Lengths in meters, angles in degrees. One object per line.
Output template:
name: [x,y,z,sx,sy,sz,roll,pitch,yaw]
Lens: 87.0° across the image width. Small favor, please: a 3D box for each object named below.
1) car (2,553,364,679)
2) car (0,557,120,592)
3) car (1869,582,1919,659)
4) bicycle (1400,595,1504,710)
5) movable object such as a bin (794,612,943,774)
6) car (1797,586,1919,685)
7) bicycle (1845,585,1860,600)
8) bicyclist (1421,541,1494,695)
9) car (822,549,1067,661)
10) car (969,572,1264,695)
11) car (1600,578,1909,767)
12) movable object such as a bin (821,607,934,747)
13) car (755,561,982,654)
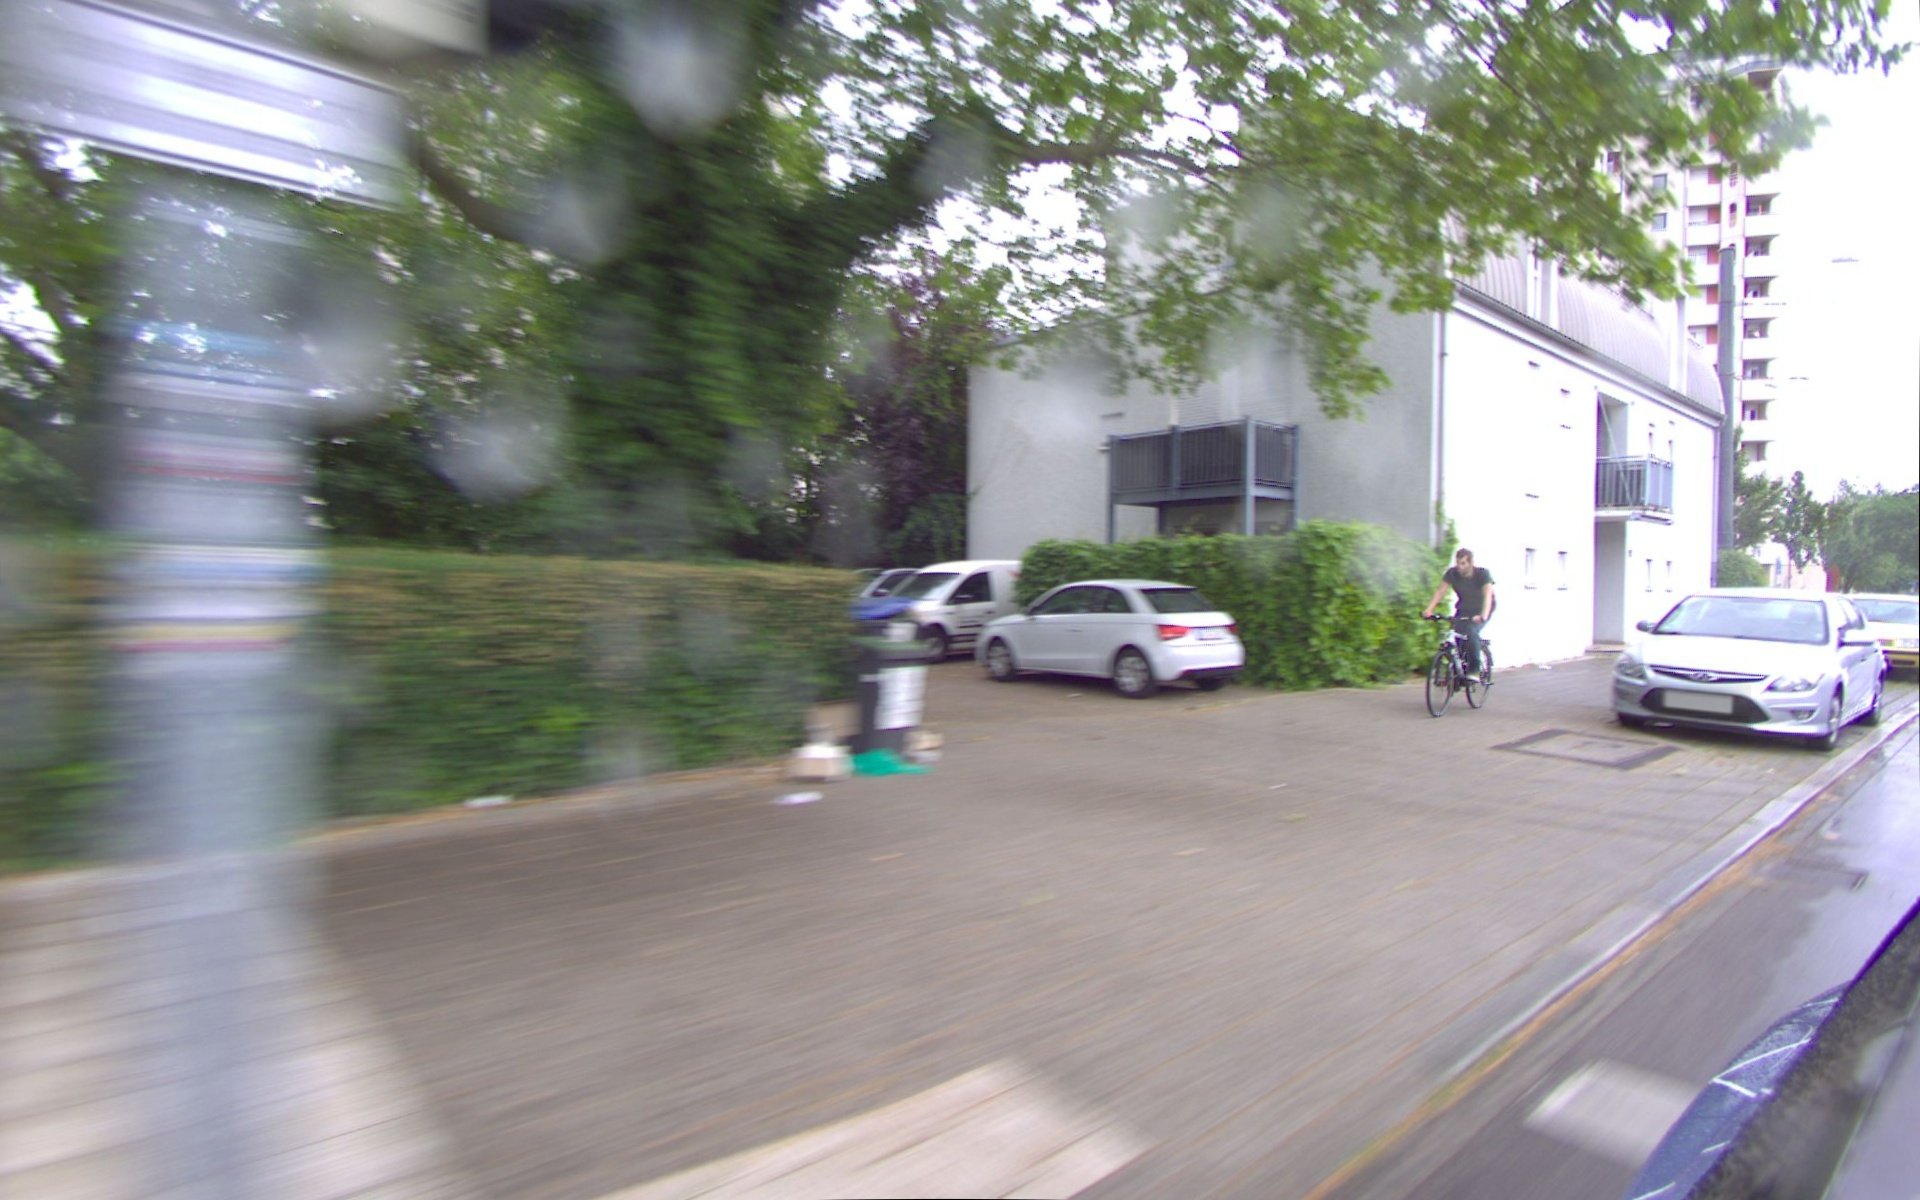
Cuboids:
car: [-11.033,0.151,14.559,1.755,1.559,3.936,0,1,44]
car: [-47.161,-1.302,52.519,2.224,1.723,5.112,0,1,16]
car: [20.662,0.406,21.322,4.569,1.422,1.654,-2,5,-41]
bicycle: [5.326,0.517,10.895,0.535,1.107,1.920,0,1,41]
movable object such as a bin: [-0.668,0.635,7.380,0.810,1.034,0.694,-1,4,-42]
car: [16.212,0.546,17.677,3.729,1.422,1.811,-1,5,-41]
bicycle: [62.375,-0.516,70.721,2.024,1.018,0.662,-1,1,-44]
bicyclist: [5.339,0.177,10.858,0.533,1.579,0.761,0,1,40]
car: [-0.204,0.035,18.460,4.175,1.816,1.997,-1,1,-41]
car: [1.955,0.351,13.493,1.729,1.395,3.704,-1,1,-39]
car: [8.357,0.580,10.549,3.729,1.485,1.811,-1,5,-41]
movable object such as a bin: [-0.671,0.598,8.271,0.726,1.034,0.537,-1,4,-42]
car: [-1.761,0.090,20.304,4.175,1.675,1.997,-1,1,-41]
